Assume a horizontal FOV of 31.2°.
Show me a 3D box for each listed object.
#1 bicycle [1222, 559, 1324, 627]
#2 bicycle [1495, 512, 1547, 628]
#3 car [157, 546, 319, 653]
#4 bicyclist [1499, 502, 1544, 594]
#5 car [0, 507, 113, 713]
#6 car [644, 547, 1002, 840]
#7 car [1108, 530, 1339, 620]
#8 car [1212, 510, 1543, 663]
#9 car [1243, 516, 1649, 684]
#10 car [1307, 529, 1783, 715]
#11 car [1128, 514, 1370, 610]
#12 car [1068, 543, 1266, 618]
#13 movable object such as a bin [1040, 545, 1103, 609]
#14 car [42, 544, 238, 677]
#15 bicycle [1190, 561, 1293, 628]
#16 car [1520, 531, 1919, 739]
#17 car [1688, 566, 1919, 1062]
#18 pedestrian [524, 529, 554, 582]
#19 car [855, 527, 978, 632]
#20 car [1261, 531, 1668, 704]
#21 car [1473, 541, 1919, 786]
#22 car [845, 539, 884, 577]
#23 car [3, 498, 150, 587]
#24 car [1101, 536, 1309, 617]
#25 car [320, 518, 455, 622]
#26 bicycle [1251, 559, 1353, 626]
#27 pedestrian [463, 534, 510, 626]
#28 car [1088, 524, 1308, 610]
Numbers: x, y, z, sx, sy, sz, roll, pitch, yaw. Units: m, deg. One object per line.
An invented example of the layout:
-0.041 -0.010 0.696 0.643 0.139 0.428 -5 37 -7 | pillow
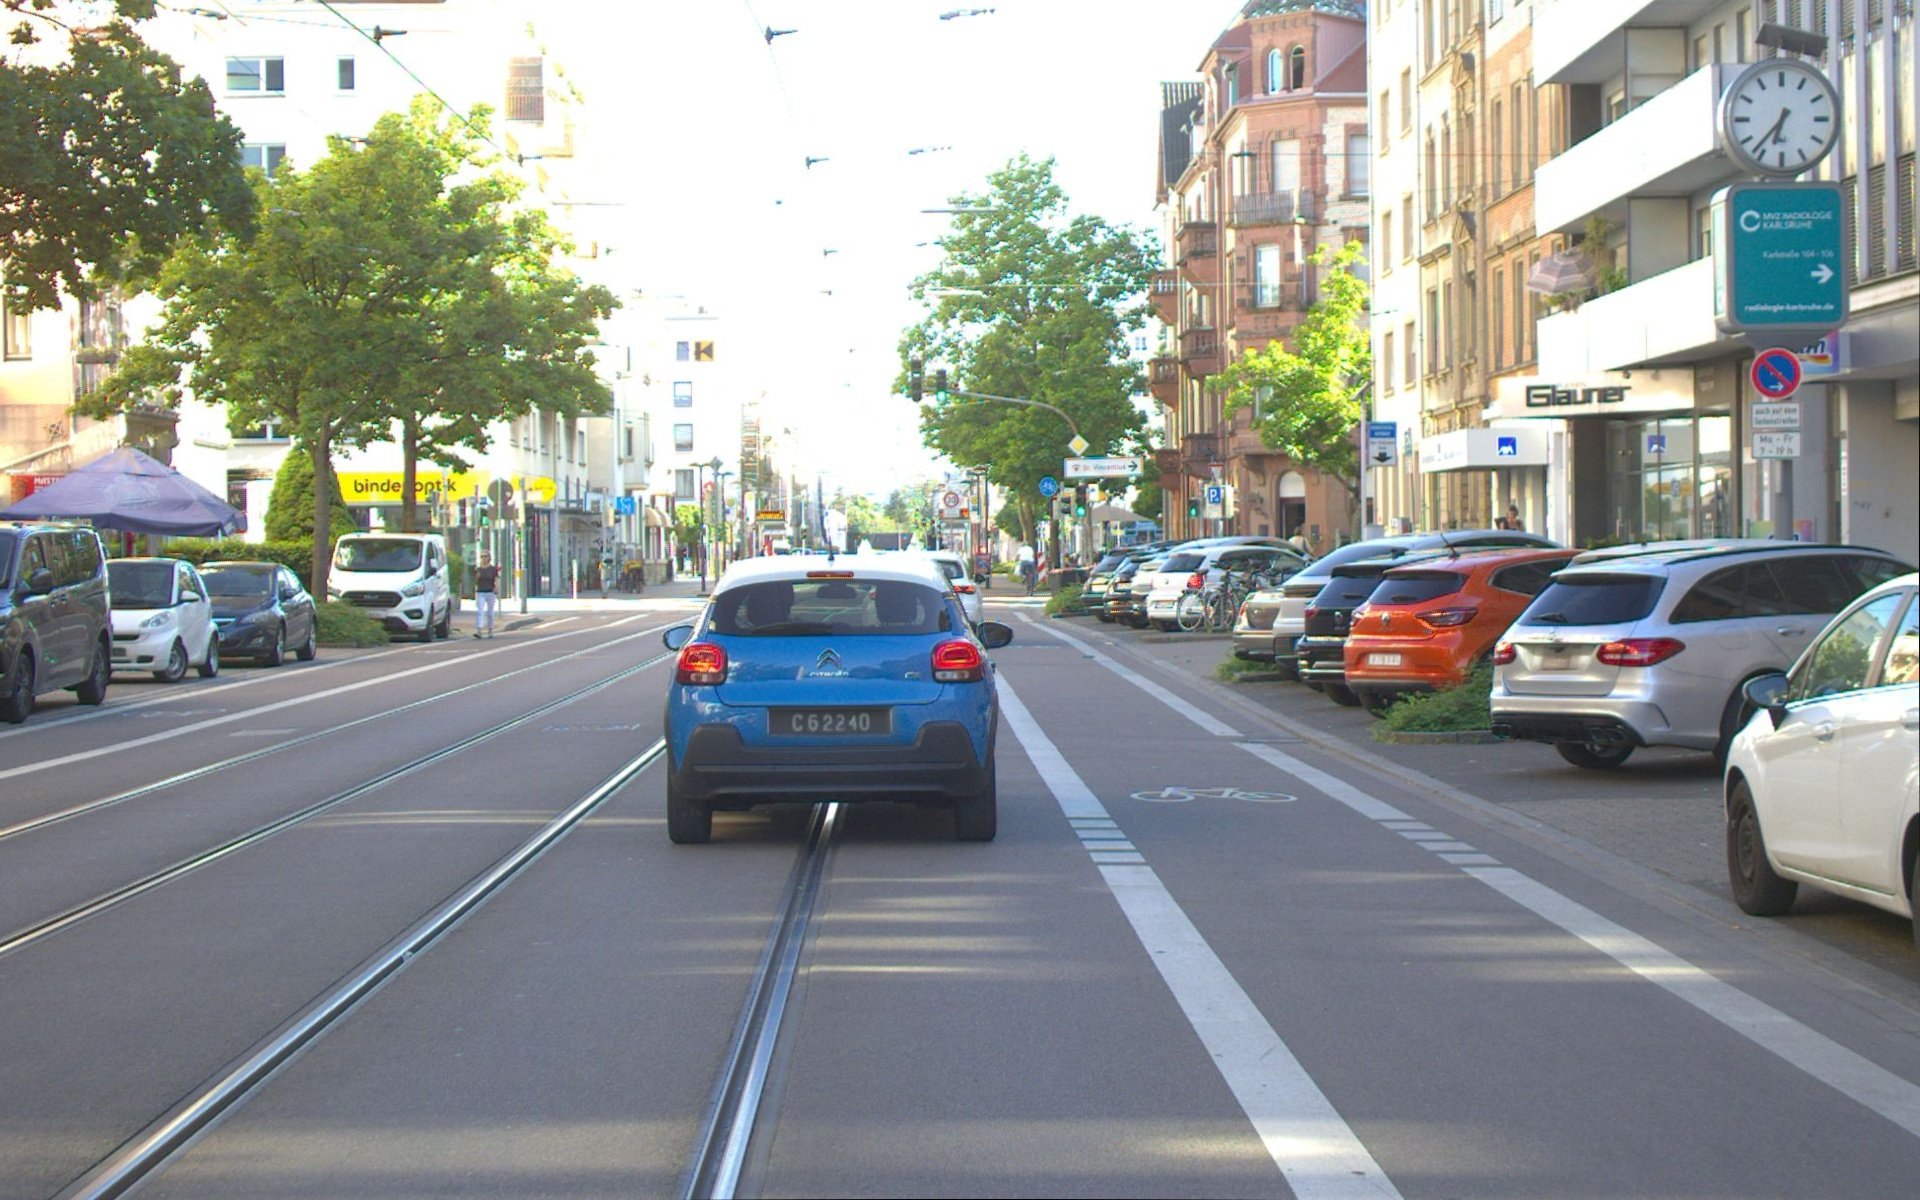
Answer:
4.943 -0.117 54.433 0.553 1.044 1.807 0 1 -36 | bicycle
9.919 -0.527 60.831 0.728 2.007 2.358 0 1 5 | bicycle
-10.418 -0.028 49.850 1.747 1.482 4.043 0 1 -4 | car
9.930 -0.923 60.819 0.732 1.617 0.528 0 0 5 | bicyclist
-10.063 0.062 35.337 1.747 1.967 5.241 0 1 -4 | car
-0.707 0.442 18.749 1.762 1.436 3.557 0 1 -1 | car
4.697 -0.448 61.364 3.653 1.568 1.861 0 1 -20 | car
4.662 -0.156 38.243 3.442 1.634 1.684 0 1 -37 | car
5.027 -0.012 35.478 3.718 1.646 2.048 0 1 -33 | car
5.079 0.165 29.777 3.718 1.515 1.968 0 1 -33 | car
4.892 -0.632 58.108 3.653 1.568 1.861 0 1 -29 | car
4.264 -0.400 70.811 3.653 1.529 1.789 0 1 -20 | car
2.595 -0.540 80.073 1.394 1.478 1.655 0 1 -1 | movable object such as a bin
-10.516 0.106 44.365 1.747 1.612 4.411 0 1 -4 | car
4.419 -0.094 54.075 0.553 1.044 1.807 0 1 -36 | bicycle
6.327 0.237 26.119 3.774 1.482 1.838 0 1 -30 | car
4.014 0.678 12.448 1.873 1.590 4.000 0 1 0 | car
-14.132 -1.490 115.398 0.944 1.745 0.700 0 0 -5 | pedestrian
-0.672 -0.337 54.518 1.873 1.590 4.000 0 1 0 | car
4.788 0.146 32.558 3.441 1.550 1.824 0 1 -32 | car
5.659 0.381 22.875 4.439 1.503 1.536 0 1 -30 | car
-3.644 -1.609 131.692 1.423 1.427 3.139 0 1 0 | car
-15.090 -0.969 58.878 1.634 1.464 3.527 0 1 0 | car
4.827 -0.455 67.857 3.653 1.568 1.861 0 1 -20 | car
-10.537 -0.554 63.504 1.831 1.841 4.214 0 1 -1 | car
5.441 -0.123 54.814 0.553 1.044 1.807 0 1 -36 | bicycle
-8.915 -0.382 64.710 0.729 1.720 0.628 0 0 -24 | pedestrian
4.429 -0.612 64.220 3.653 1.568 1.861 0 1 -20 | car
